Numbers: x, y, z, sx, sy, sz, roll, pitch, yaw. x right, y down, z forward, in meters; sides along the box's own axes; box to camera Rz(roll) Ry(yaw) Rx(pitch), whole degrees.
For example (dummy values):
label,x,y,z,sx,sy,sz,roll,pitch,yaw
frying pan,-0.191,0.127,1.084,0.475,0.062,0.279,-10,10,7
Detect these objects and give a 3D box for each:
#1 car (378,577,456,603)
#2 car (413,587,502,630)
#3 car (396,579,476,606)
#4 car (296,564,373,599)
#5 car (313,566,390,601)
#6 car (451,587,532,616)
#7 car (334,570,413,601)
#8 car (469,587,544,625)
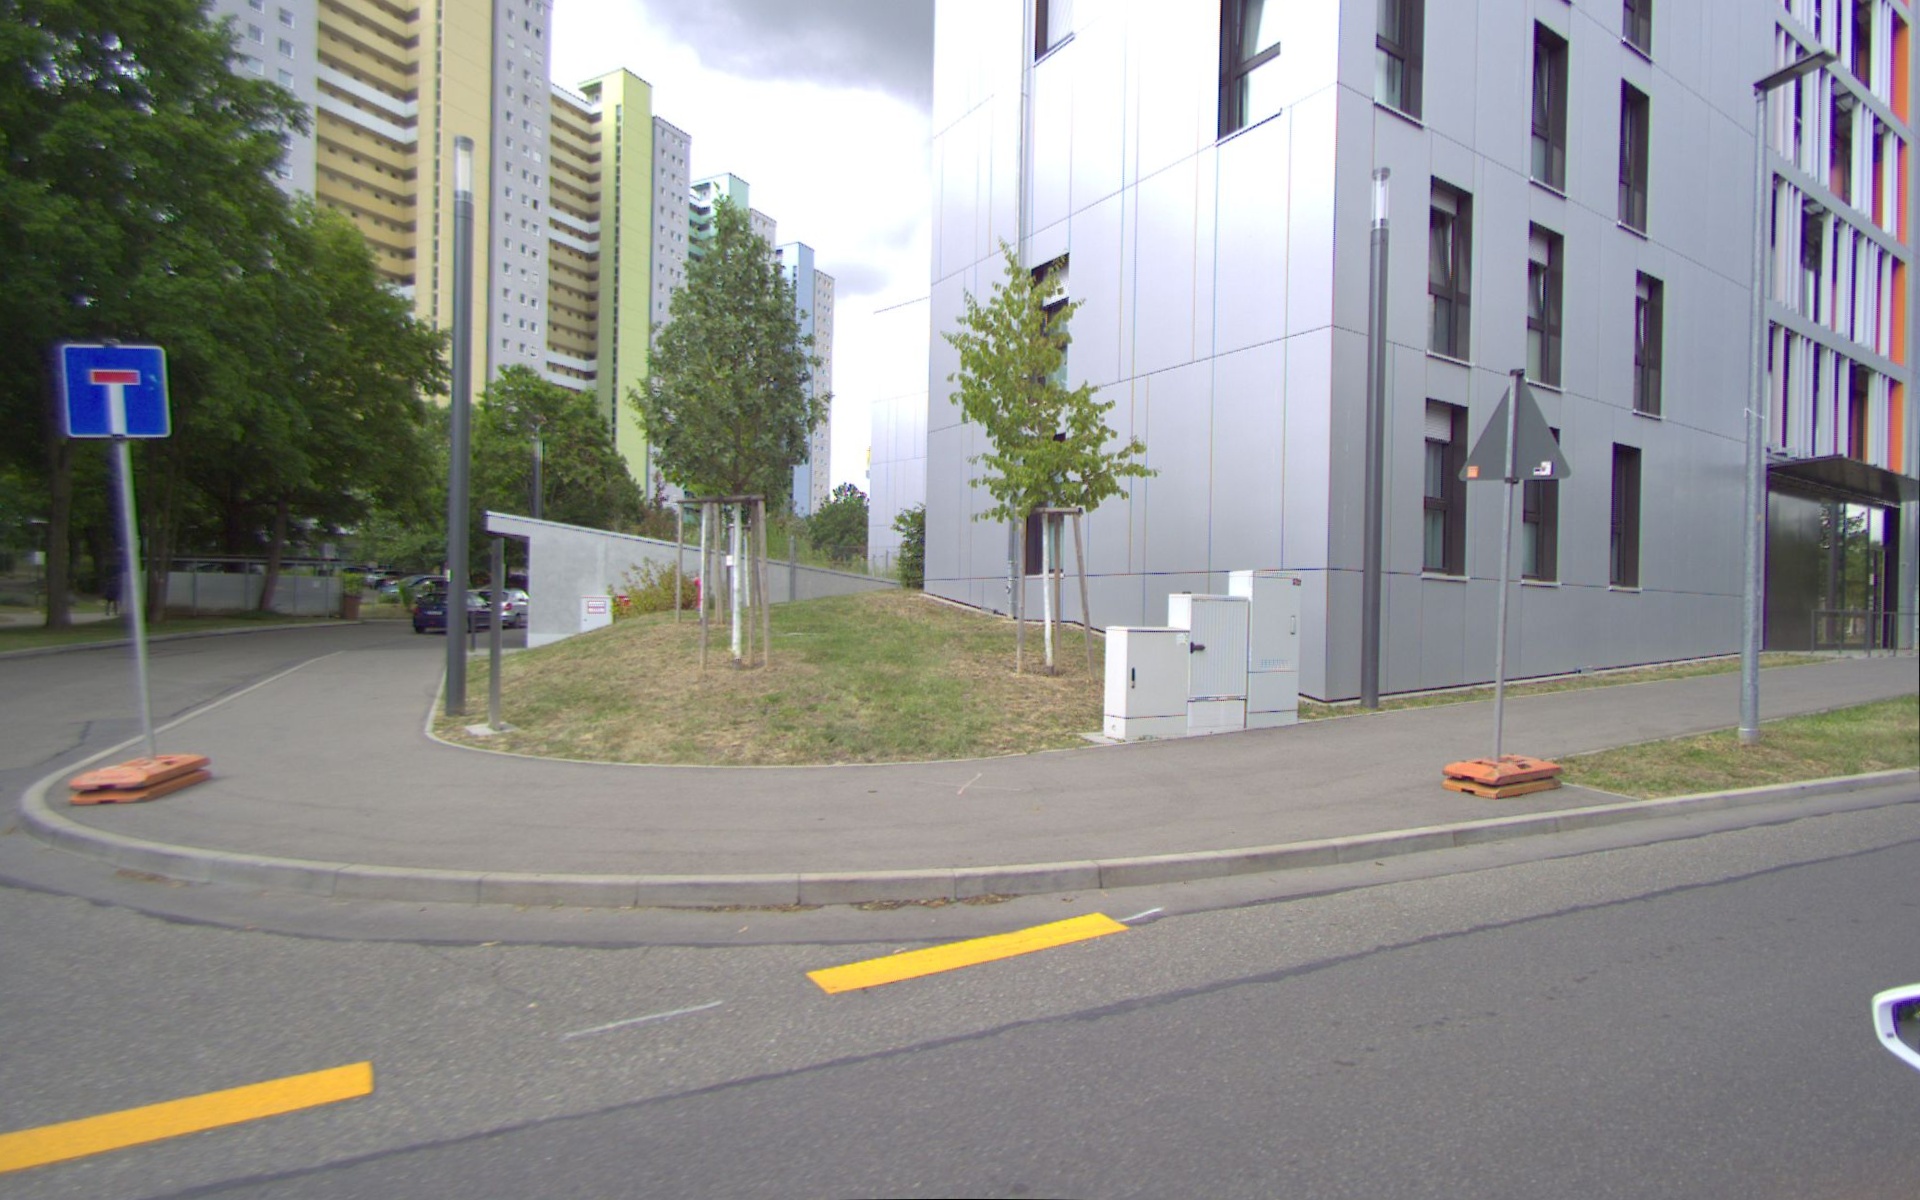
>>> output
label,x,y,z,sx,sy,sz,roll,pitch,yaw
car,-30.279,-0.539,56.093,3.594,1.391,1.481,1,0,-42
car,-17.232,0.267,34.636,1.470,1.391,3.619,1,0,-4
car,-28.122,-0.392,53.932,3.594,1.391,1.481,1,0,-42
car,-36.529,-1.059,58.688,3.594,1.981,1.481,1,0,-42
car,-34.919,-0.910,57.661,3.594,1.892,1.481,1,0,-42
car,-23.449,0.057,50.393,3.570,1.391,1.490,1,0,-23
car,-32.667,-0.790,56.014,3.594,1.685,1.481,1,0,-42
car,-17.484,0.218,38.870,1.470,1.391,3.619,1,0,-4
